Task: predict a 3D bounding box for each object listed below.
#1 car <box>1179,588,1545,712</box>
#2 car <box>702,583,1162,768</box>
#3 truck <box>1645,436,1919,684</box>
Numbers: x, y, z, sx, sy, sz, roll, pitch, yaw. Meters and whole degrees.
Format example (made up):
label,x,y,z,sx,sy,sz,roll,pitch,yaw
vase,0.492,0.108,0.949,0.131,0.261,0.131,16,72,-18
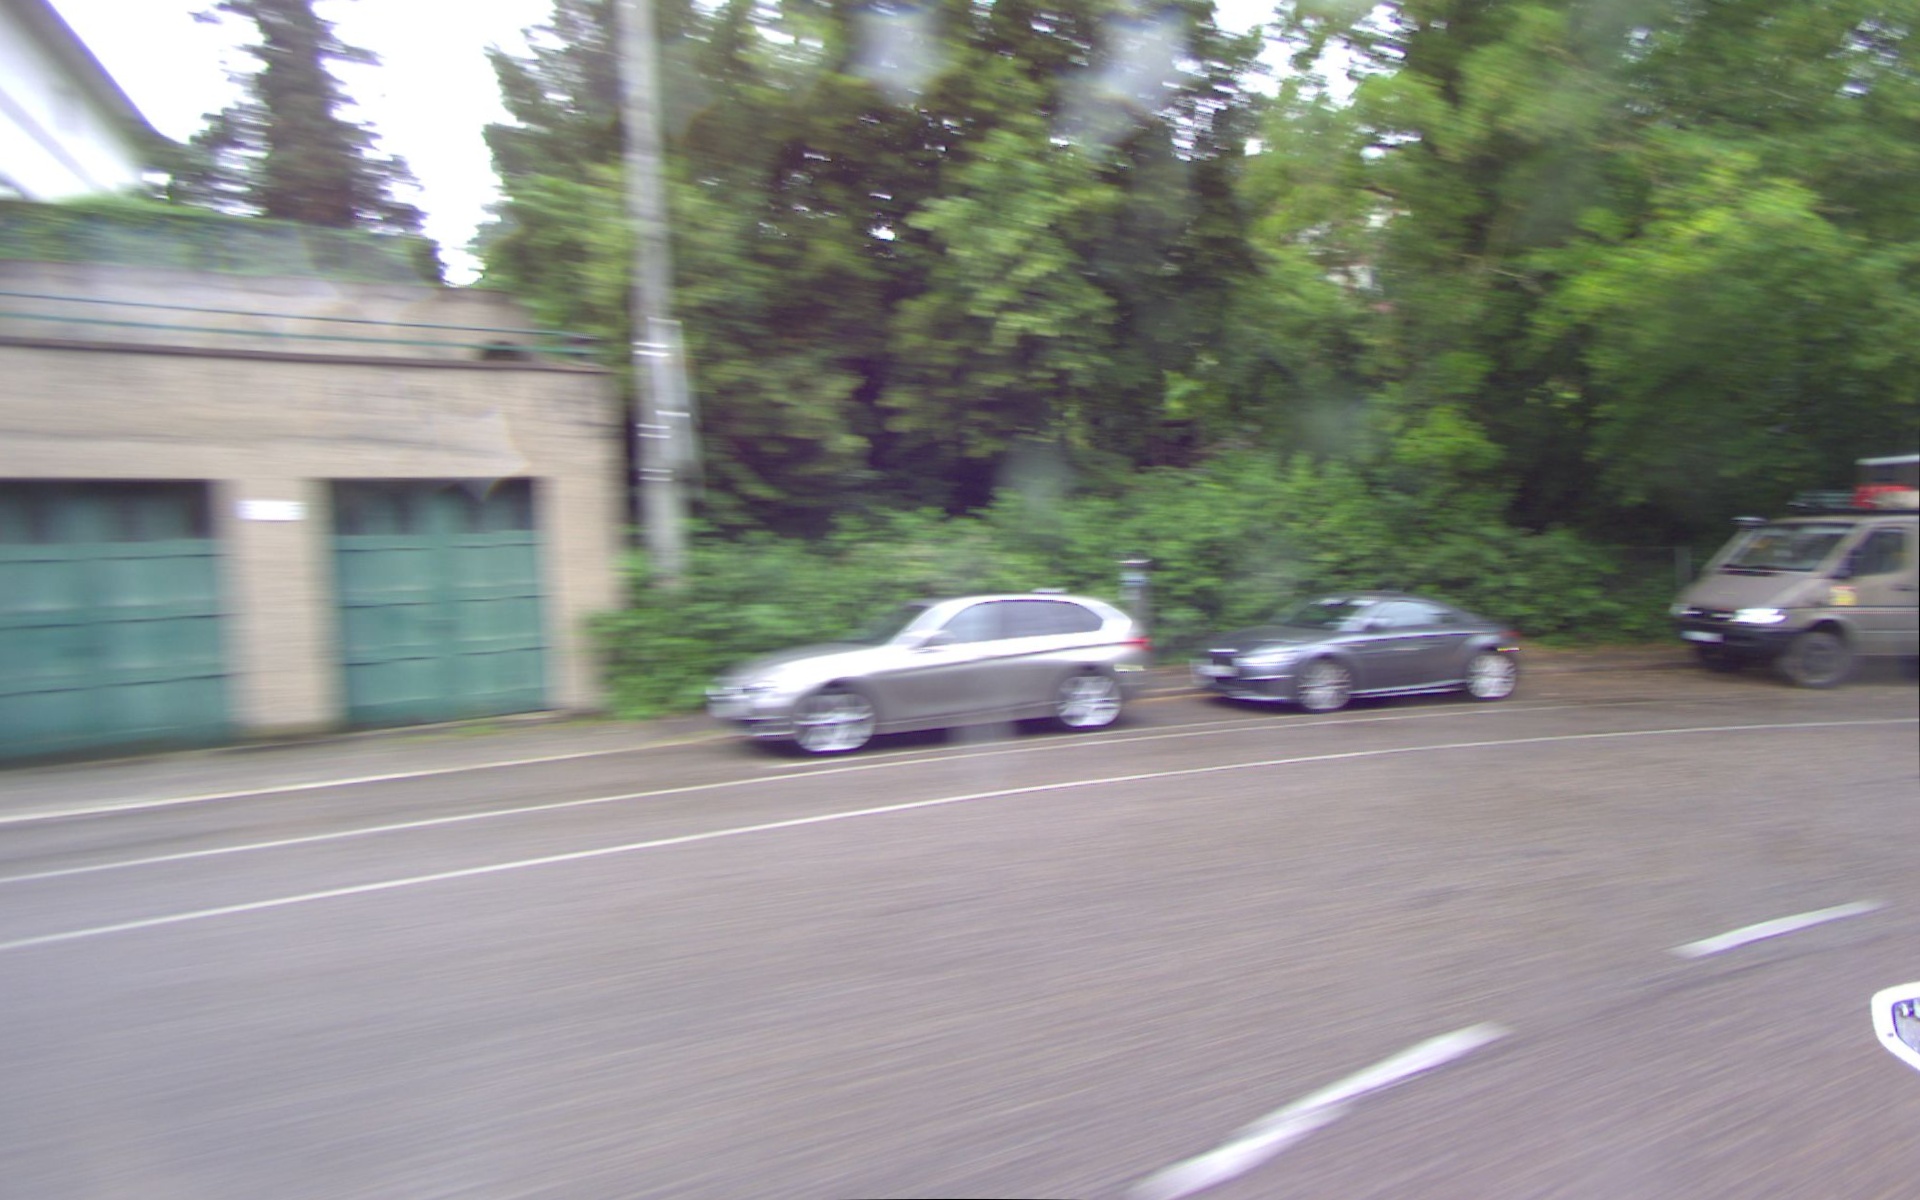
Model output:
label,x,y,z,sx,sy,sz,roll,pitch,yaw
car,5.005,0.532,12.561,4.180,1.293,1.697,-1,2,-19
car,-0.229,0.616,10.374,4.470,1.519,1.693,-1,2,-27
truck,13.388,-0.560,13.854,6.484,3.145,2.038,0,4,-2
